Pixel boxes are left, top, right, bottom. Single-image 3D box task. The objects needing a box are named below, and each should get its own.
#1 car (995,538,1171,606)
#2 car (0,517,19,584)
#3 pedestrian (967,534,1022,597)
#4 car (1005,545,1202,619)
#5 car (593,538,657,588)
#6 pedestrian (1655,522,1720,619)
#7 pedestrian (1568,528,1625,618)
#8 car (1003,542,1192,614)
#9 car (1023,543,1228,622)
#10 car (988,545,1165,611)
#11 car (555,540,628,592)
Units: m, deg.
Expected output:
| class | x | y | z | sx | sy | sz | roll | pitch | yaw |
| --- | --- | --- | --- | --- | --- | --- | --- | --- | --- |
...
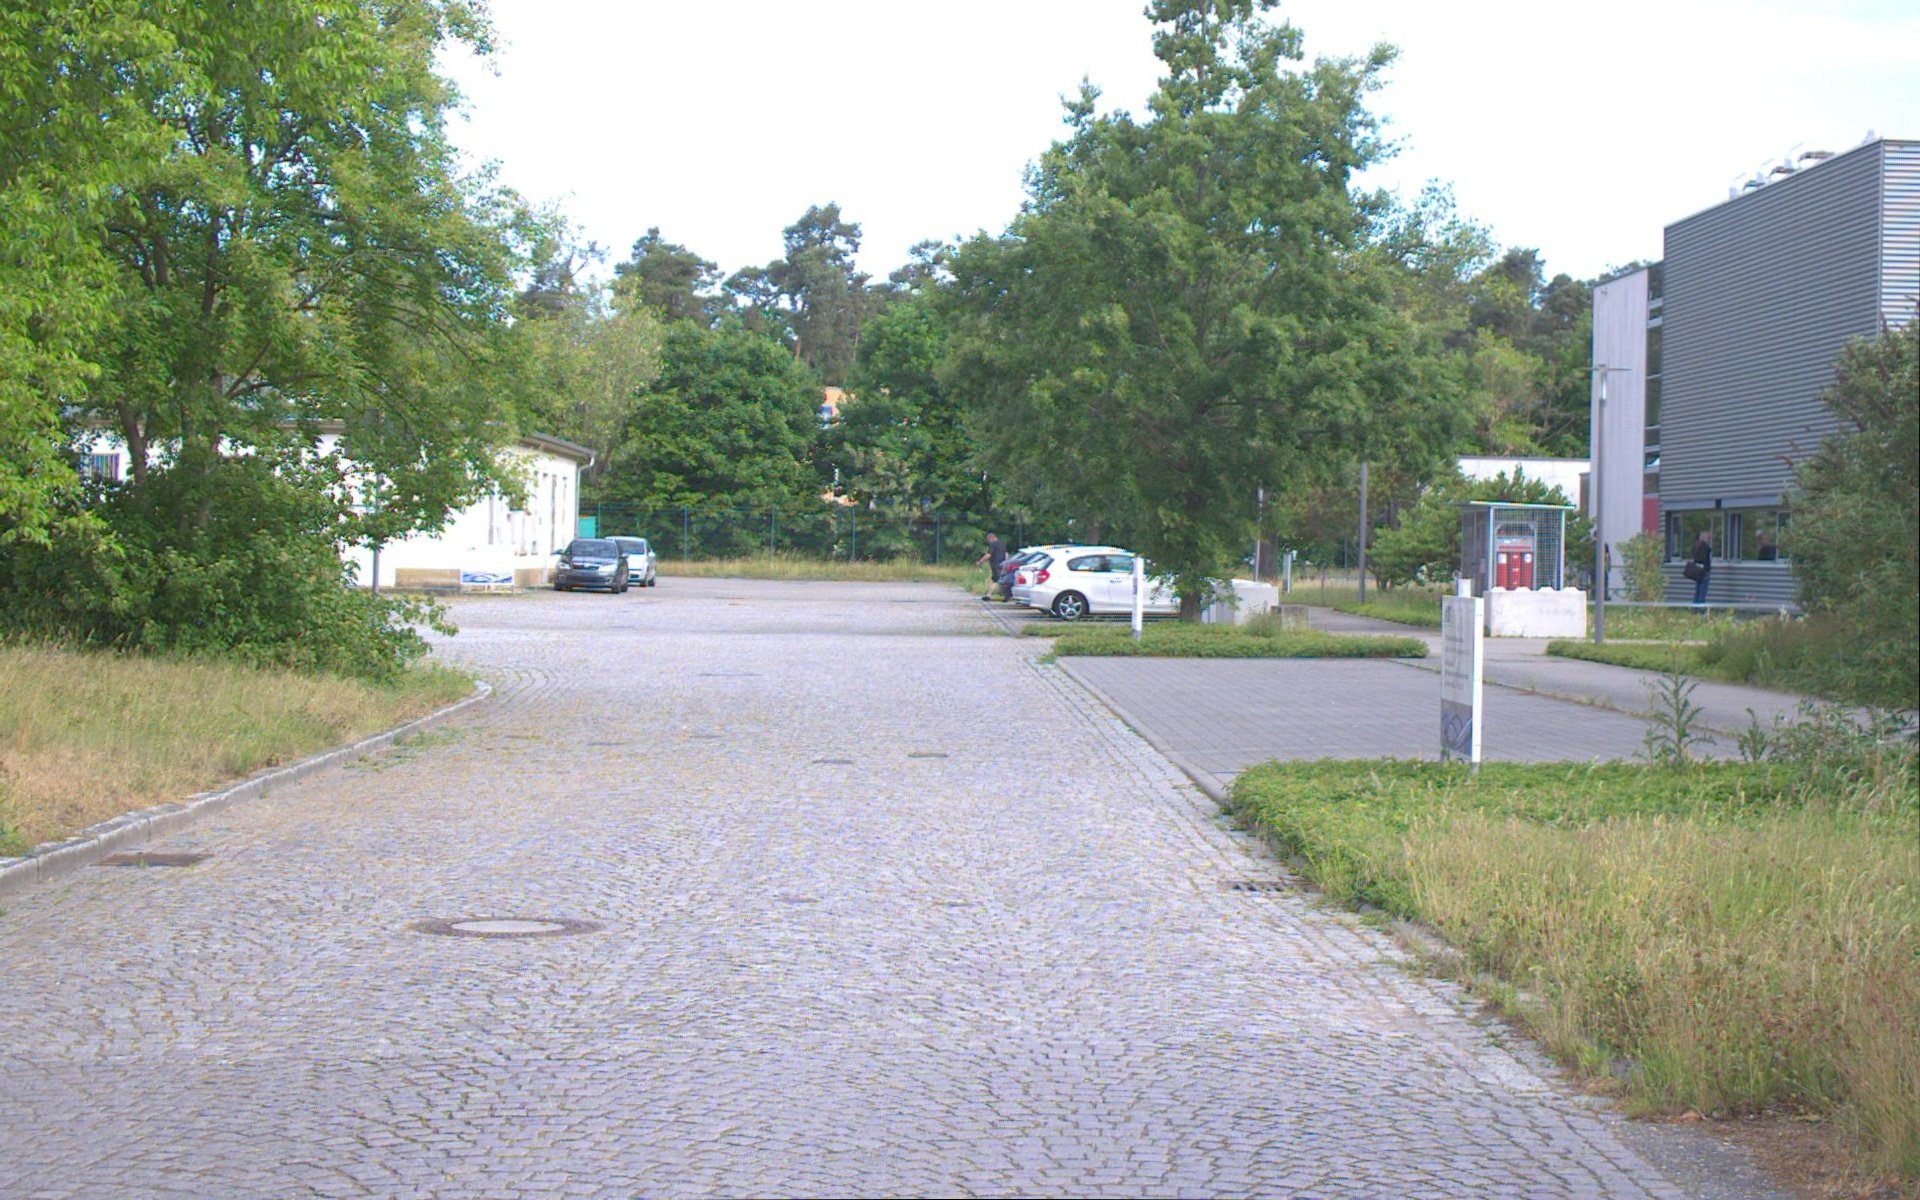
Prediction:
| class | x | y | z | sx | sy | sz | roll | pitch | yaw |
| --- | --- | --- | --- | --- | --- | --- | --- | --- | --- |
| car | 2.931 | -0.682 | 82.684 | 3.986 | 1.528 | 2.000 | 1 | 1 | -5 |
| car | -23.435 | -1.181 | 80.109 | 1.900 | 1.569 | 4.000 | 1 | 1 | 0 |
| pedestrian | 0.869 | -0.868 | 86.096 | 0.970 | 1.563 | 0.941 | 2 | 1 | 39 |
| car | 2.965 | -0.391 | 71.526 | 3.987 | 1.450 | 1.697 | 1 | 1 | -1 |
| car | -10.067 | -1.132 | 103.389 | 1.748 | 1.449 | 4.001 | 1 | 1 | -4 |
| pedestrian | 14.782 | -0.606 | 69.855 | 0.917 | 1.930 | 0.855 | 1 | 1 | -31 |
| pedestrian | 14.451 | -0.619 | 78.100 | 0.920 | 2.007 | 1.147 | 1 | 1 | -7 |
| car | 2.958 | -0.485 | 74.566 | 3.987 | 1.450 | 1.770 | 1 | 1 | -1 |
| car | 3.308 | -0.345 | 69.362 | 3.987 | 1.450 | 2.000 | 2 | 0 | -1 |
| car | 2.672 | -0.513 | 79.466 | 3.987 | 1.450 | 1.770 | 1 | 1 | -1 |
| car | -9.964 | -0.933 | 93.159 | 1.748 | 1.359 | 4.001 | 1 | 1 | -4 |
